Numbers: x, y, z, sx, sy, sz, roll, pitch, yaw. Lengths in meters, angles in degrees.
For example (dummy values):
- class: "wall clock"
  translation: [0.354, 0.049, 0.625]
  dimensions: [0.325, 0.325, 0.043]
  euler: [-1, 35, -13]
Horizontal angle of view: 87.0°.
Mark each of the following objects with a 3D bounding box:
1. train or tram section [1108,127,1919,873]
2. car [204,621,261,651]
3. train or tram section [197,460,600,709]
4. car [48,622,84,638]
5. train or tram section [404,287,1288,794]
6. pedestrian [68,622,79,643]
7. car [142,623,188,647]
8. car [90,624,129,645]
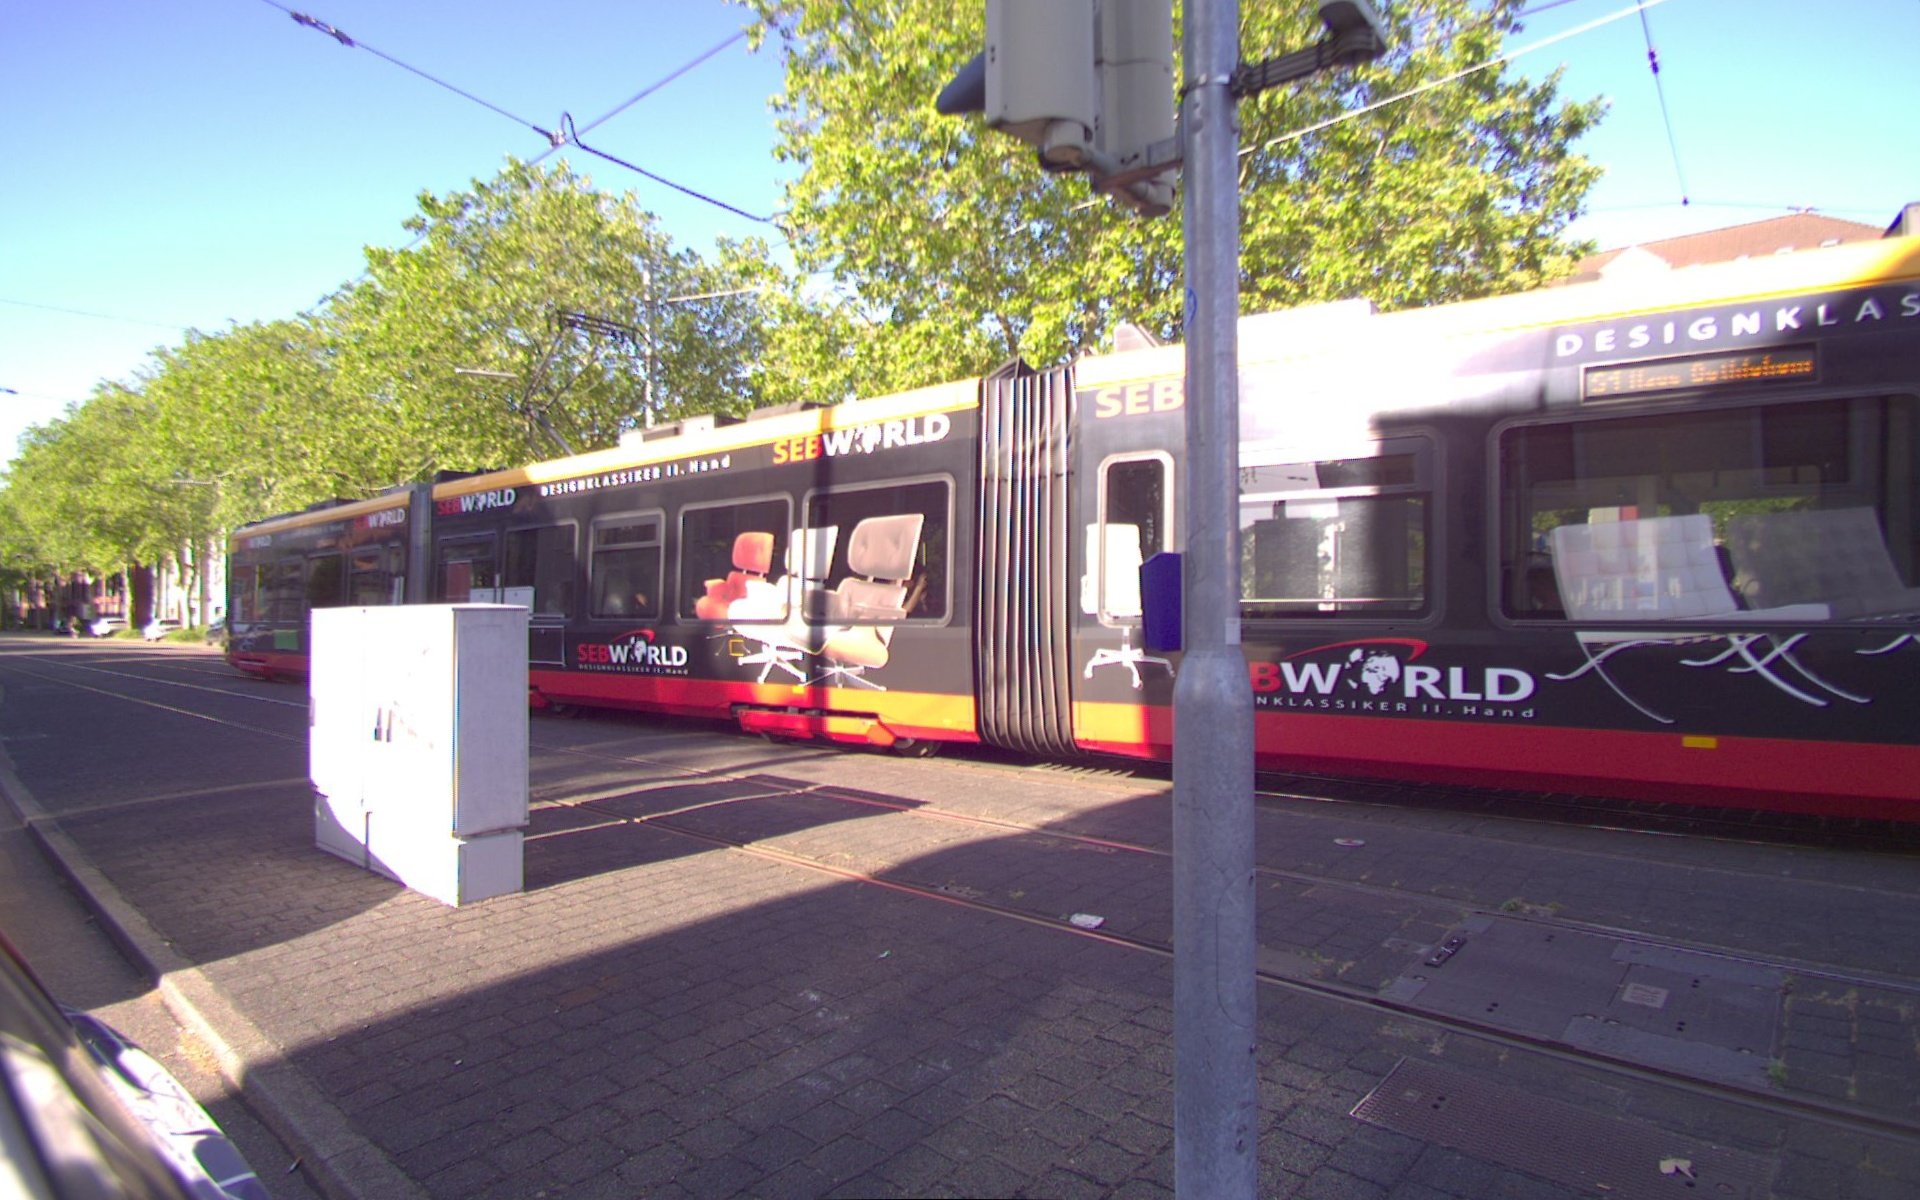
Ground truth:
- class: "train or tram section"
  translation: [6.946, -0.502, 5.278]
  dimensions: [12.076, 3.640, 3.031]
  euler: [-1, -1, 33]
- class: "car"
  translation: [-40.670, 1.974, 56.559]
  dimensions: [4.000, 1.588, 1.857]
  euler: [-1, -2, 43]
- class: "train or tram section"
  translation: [-11.856, -0.111, 20.252]
  dimensions: [12.885, 3.640, 3.023]
  euler: [-1, -2, 42]
- class: "car"
  translation: [-85.193, 2.853, 96.426]
  dimensions: [3.995, 1.563, 1.859]
  euler: [-1, -1, 38]
- class: "train or tram section"
  translation: [-2.478, -0.322, 12.176]
  dimensions: [11.934, 3.640, 3.026]
  euler: [-1, -1, 39]
- class: "pedestrian"
  translation: [-69.186, 2.515, 78.940]
  dimensions: [0.677, 1.654, 0.570]
  euler: [-1, -2, 43]
- class: "car"
  translation: [-53.702, 2.318, 68.355]
  dimensions: [4.000, 1.563, 1.857]
  euler: [-1, -2, 43]
- class: "car"
  translation: [-66.874, 2.675, 79.552]
  dimensions: [4.000, 1.563, 1.857]
  euler: [-1, -2, 43]
